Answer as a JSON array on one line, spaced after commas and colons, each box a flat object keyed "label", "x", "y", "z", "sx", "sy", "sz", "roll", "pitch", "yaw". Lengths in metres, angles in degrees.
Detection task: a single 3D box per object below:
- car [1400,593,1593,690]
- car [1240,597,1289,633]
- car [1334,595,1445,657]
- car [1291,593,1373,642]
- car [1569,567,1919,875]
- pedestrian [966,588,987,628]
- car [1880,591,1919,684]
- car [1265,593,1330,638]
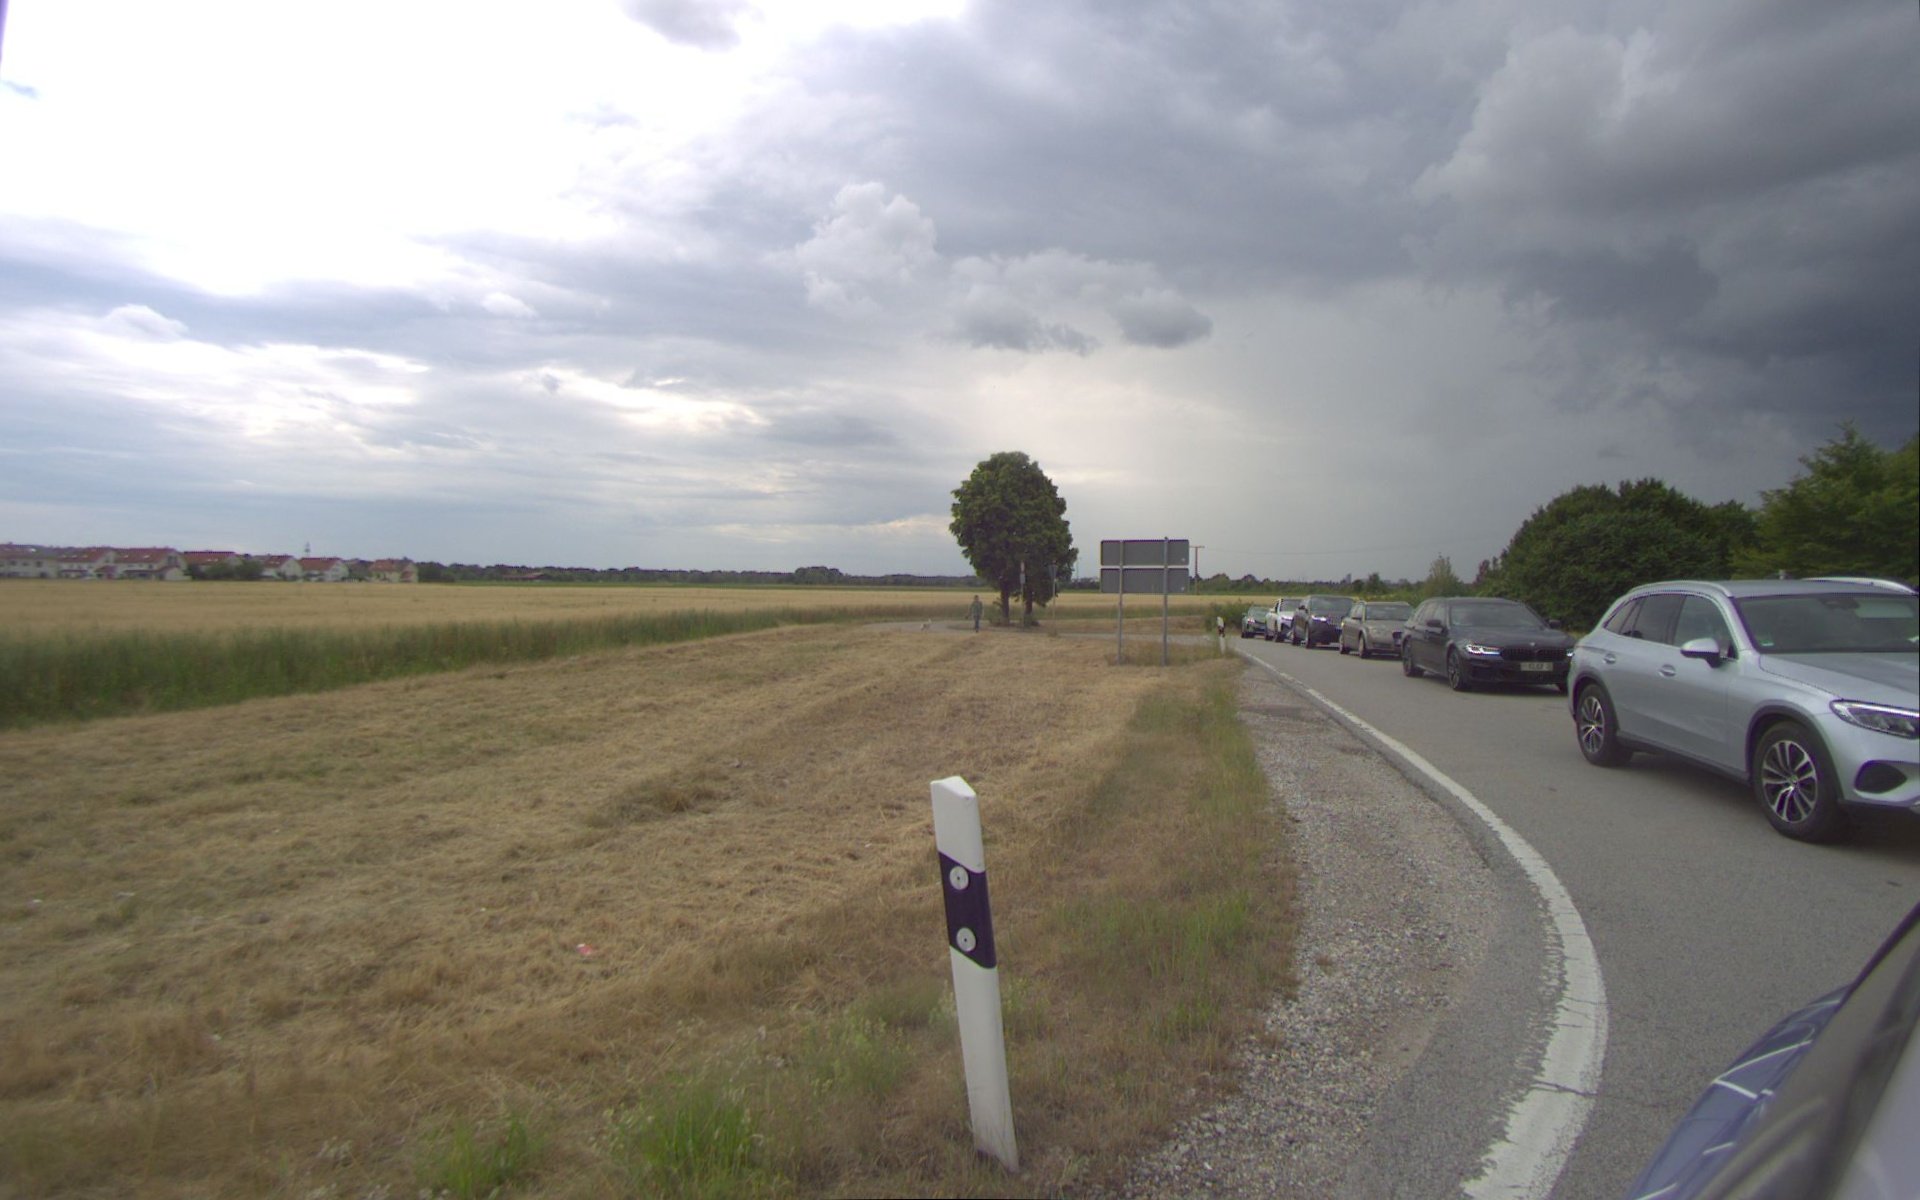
[{"label": "car", "x": 8.855, "y": 0.608, "z": 17.155, "sx": 1.696, "sy": 1.370, "sz": 4.677, "roll": -2, "pitch": 0, "yaw": 13}, {"label": "car", "x": 13.991, "y": 0.664, "z": 46.618, "sx": 1.695, "sy": 1.513, "sz": 4.200, "roll": -2, "pitch": 0, "yaw": 11}, {"label": "car", "x": 10.766, "y": 0.595, "z": 25.661, "sx": 1.695, "sy": 1.370, "sz": 4.201, "roll": 1, "pitch": 1, "yaw": 11}, {"label": "car", "x": 11.556, "y": 0.499, "z": 31.654, "sx": 1.695, "sy": 1.370, "sz": 4.200, "roll": -2, "pitch": 0, "yaw": 11}, {"label": "car", "x": 6.250, "y": 0.584, "z": 7.225, "sx": 1.967, "sy": 1.606, "sz": 4.376, "roll": -1, "pitch": 0, "yaw": 14}, {"label": "pedestrian", "x": 0.680, "y": 0.326, "z": 42.066, "sx": 0.758, "sy": 1.631, "sz": 0.946, "roll": 1, "pitch": 0, "yaw": -7}, {"label": "car", "x": 16.367, "y": 0.639, "z": 14.567, "sx": 1.735, "sy": 1.469, "sz": 4.402, "roll": 1, "pitch": 1, "yaw": -13}, {"label": "car", "x": 12.705, "y": 0.540, "z": 38.348, "sx": 1.695, "sy": 1.513, "sz": 4.624, "roll": -2, "pitch": 0, "yaw": 11}]
